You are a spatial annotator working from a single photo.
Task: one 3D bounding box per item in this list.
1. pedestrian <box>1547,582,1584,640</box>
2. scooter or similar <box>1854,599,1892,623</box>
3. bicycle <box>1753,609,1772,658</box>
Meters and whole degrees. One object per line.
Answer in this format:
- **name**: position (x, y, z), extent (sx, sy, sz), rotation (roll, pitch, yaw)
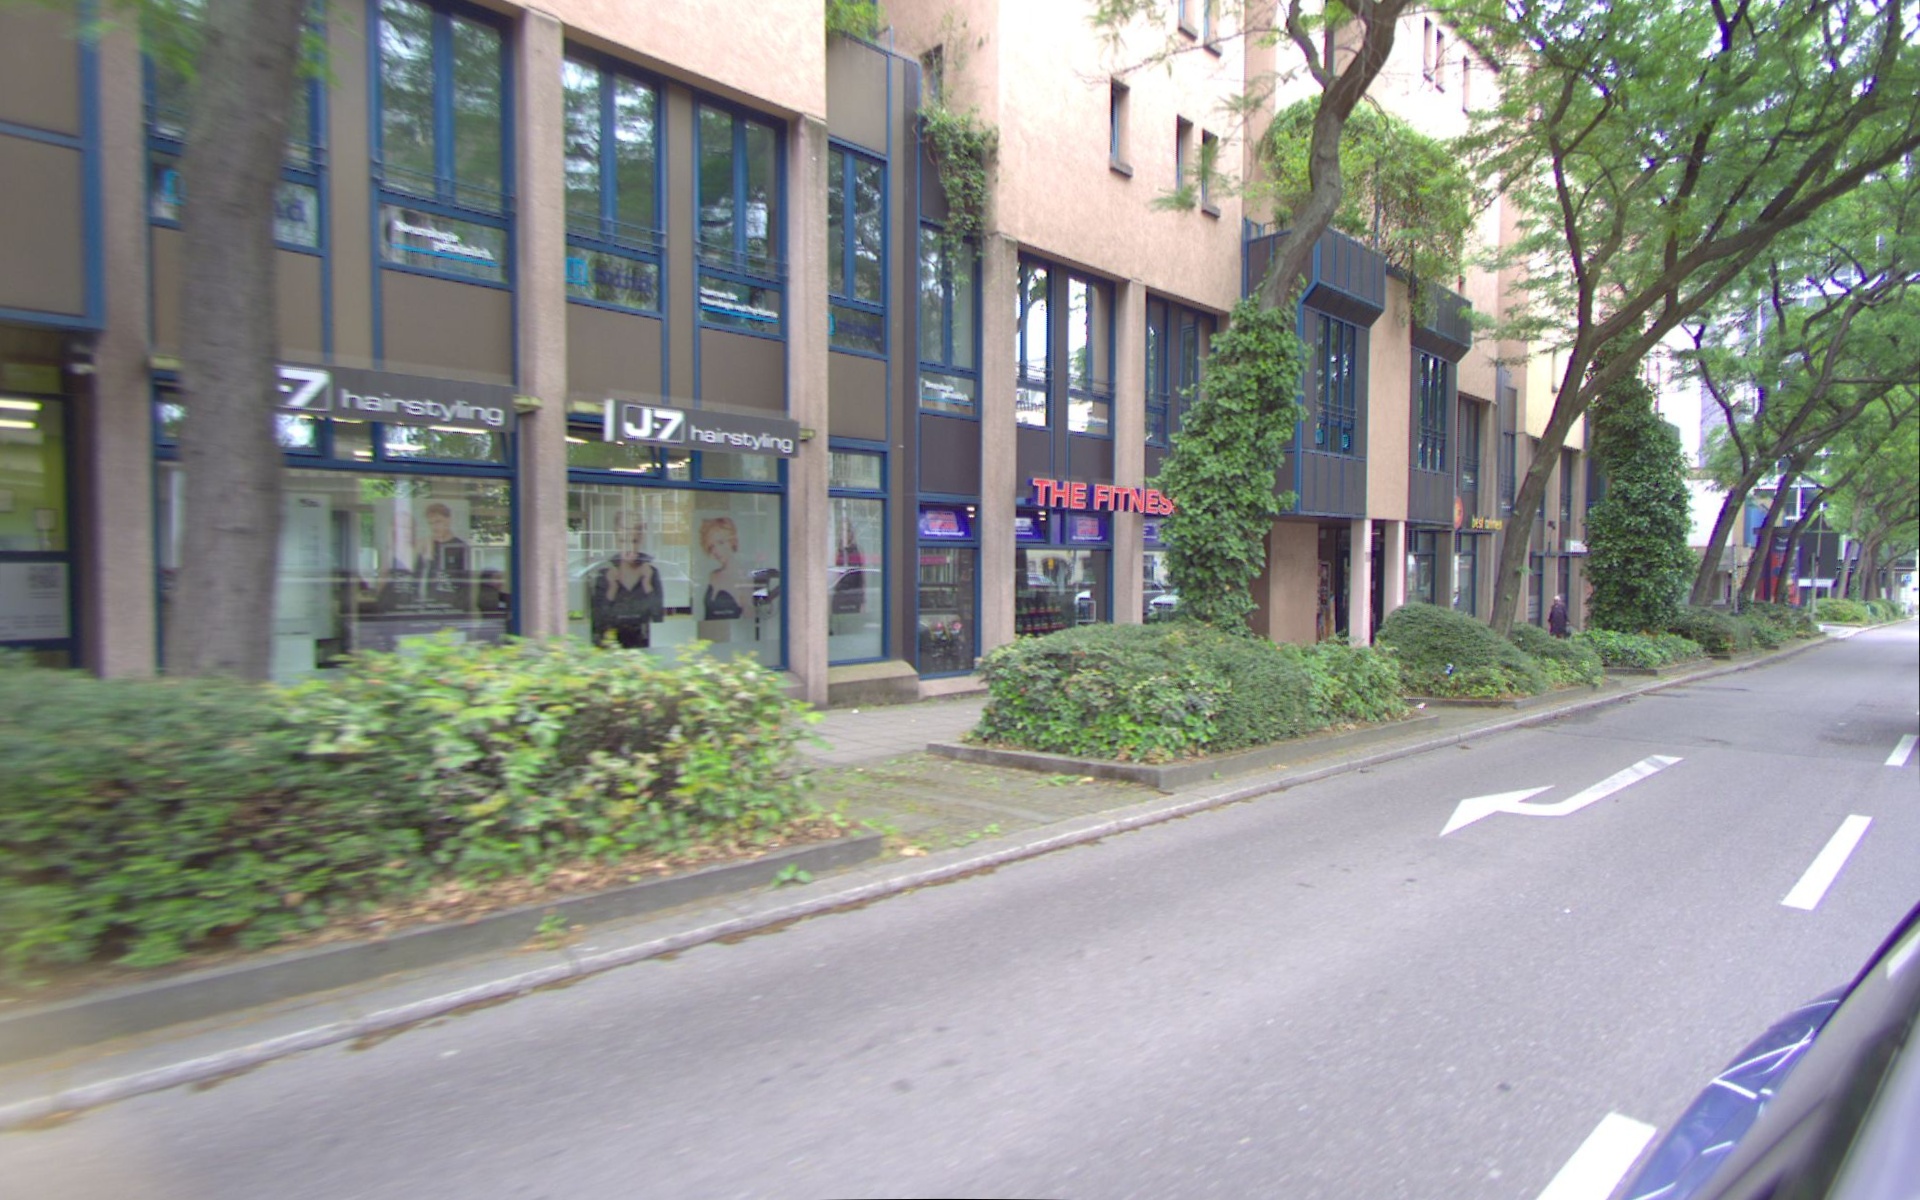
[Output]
- **pedestrian**: position (18.183, 0.327, 30.403), extent (0.675, 1.733, 0.711), rotation (1, 0, -37)
- **scooter or similar**: position (54.285, 0.646, 60.173), extent (1.512, 1.452, 0.685), rotation (0, 0, 16)
- **bicycle**: position (21.350, 0.873, 26.935), extent (0.361, 1.216, 1.549), rotation (2, 1, 38)
